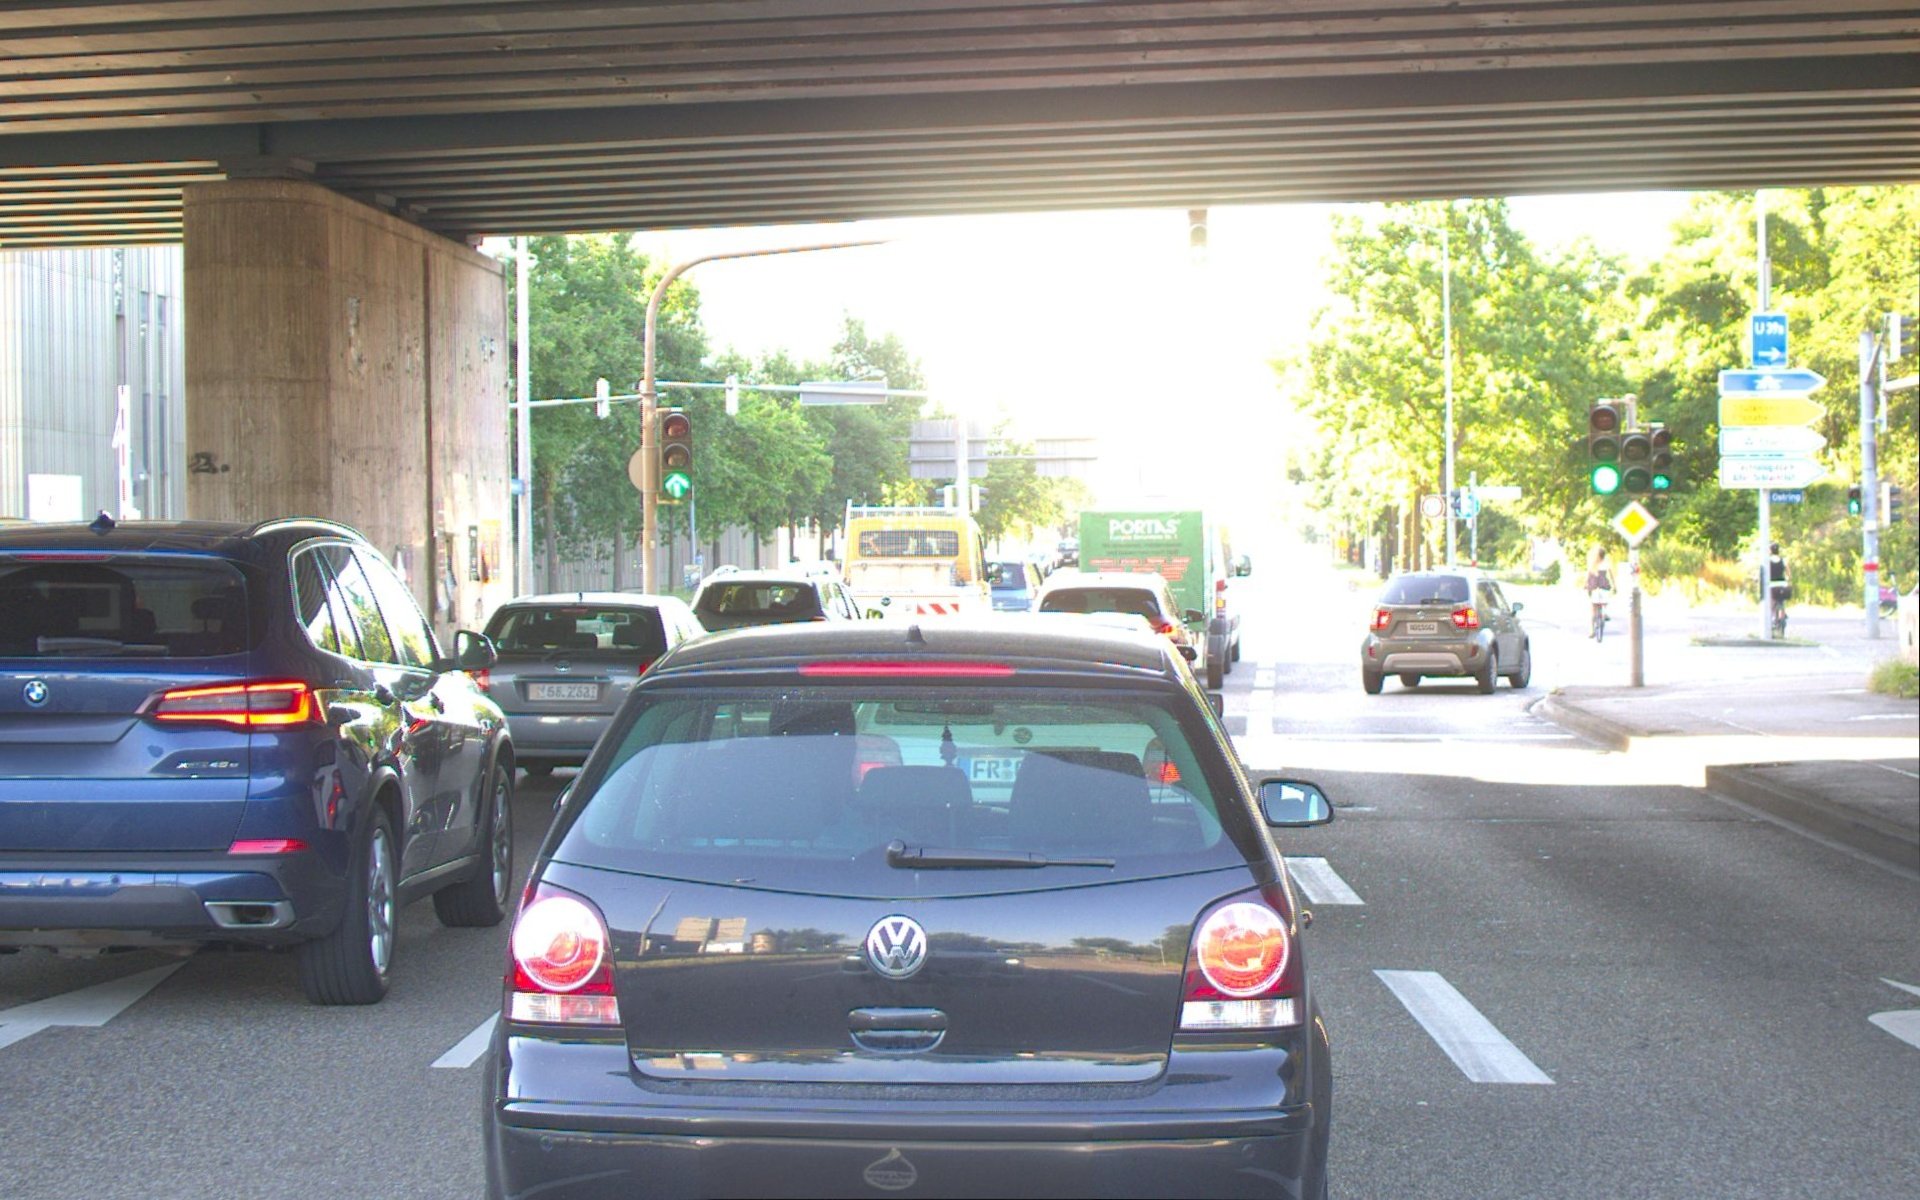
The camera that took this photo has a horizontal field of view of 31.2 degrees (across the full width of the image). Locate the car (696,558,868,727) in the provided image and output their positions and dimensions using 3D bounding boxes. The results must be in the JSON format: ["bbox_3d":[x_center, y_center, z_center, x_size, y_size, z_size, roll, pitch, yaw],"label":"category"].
[{"bbox_3d":[-1.839,0.425,36.370,1.616,1.673,3.683,1,0,0],"label":"car"}]

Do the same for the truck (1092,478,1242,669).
[{"bbox_3d":[3.079,-0.373,50.382,1.996,2.659,3.999,1,0,6],"label":"truck"}]

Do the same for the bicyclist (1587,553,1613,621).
[{"bbox_3d":[11.736,-0.238,63.041,0.427,1.229,0.460,-1,0,6],"label":"bicyclist"}]

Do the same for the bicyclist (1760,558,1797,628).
[{"bbox_3d":[15.413,-0.127,64.761,0.544,1.311,0.835,1,0,6],"label":"bicyclist"}]

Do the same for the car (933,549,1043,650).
[{"bbox_3d":[0.518,-0.006,59.800,1.617,1.673,3.682,1,0,5],"label":"car"}]

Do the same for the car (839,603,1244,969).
[{"bbox_3d":[0.329,0.739,15.645,1.578,1.408,4.062,1,0,0],"label":"car"}]

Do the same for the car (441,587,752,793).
[{"bbox_3d":[-2.653,0.629,25.840,1.617,1.405,3.682,1,0,5],"label":"car"}]

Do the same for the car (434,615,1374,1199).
[{"bbox_3d":[-0.020,0.761,7.802,1.616,1.405,3.682,1,0,3],"label":"car"}]

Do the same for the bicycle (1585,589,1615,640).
[{"bbox_3d":[11.739,0.263,63.081,0.437,0.911,1.026,-2,0,6],"label":"bicycle"}]

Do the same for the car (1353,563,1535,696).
[{"bbox_3d":[6.363,0.368,44.896,1.738,1.625,4.059,1,0,17],"label":"car"}]

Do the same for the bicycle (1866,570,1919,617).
[{"bbox_3d":[20.908,-0.147,75.916,1.664,0.988,0.577,-1,3,22],"label":"bicycle"}]

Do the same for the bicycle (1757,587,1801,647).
[{"bbox_3d":[15.415,0.318,64.748,0.565,1.108,1.621,1,0,6],"label":"bicycle"}]

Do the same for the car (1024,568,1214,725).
[{"bbox_3d":[1.746,0.468,36.630,1.796,1.553,3.999,1,0,6],"label":"car"}]

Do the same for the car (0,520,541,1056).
[{"bbox_3d":[-2.990,0.601,13.492,1.993,1.728,4.532,1,0,2],"label":"car"}]

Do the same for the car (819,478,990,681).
[{"bbox_3d":[-0.689,-0.262,46.630,2.136,2.567,5.087,1,0,1],"label":"car"}]

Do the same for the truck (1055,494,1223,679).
[{"bbox_3d":[2.413,-0.170,45.423,1.996,2.307,3.999,1,0,6],"label":"truck"}]
